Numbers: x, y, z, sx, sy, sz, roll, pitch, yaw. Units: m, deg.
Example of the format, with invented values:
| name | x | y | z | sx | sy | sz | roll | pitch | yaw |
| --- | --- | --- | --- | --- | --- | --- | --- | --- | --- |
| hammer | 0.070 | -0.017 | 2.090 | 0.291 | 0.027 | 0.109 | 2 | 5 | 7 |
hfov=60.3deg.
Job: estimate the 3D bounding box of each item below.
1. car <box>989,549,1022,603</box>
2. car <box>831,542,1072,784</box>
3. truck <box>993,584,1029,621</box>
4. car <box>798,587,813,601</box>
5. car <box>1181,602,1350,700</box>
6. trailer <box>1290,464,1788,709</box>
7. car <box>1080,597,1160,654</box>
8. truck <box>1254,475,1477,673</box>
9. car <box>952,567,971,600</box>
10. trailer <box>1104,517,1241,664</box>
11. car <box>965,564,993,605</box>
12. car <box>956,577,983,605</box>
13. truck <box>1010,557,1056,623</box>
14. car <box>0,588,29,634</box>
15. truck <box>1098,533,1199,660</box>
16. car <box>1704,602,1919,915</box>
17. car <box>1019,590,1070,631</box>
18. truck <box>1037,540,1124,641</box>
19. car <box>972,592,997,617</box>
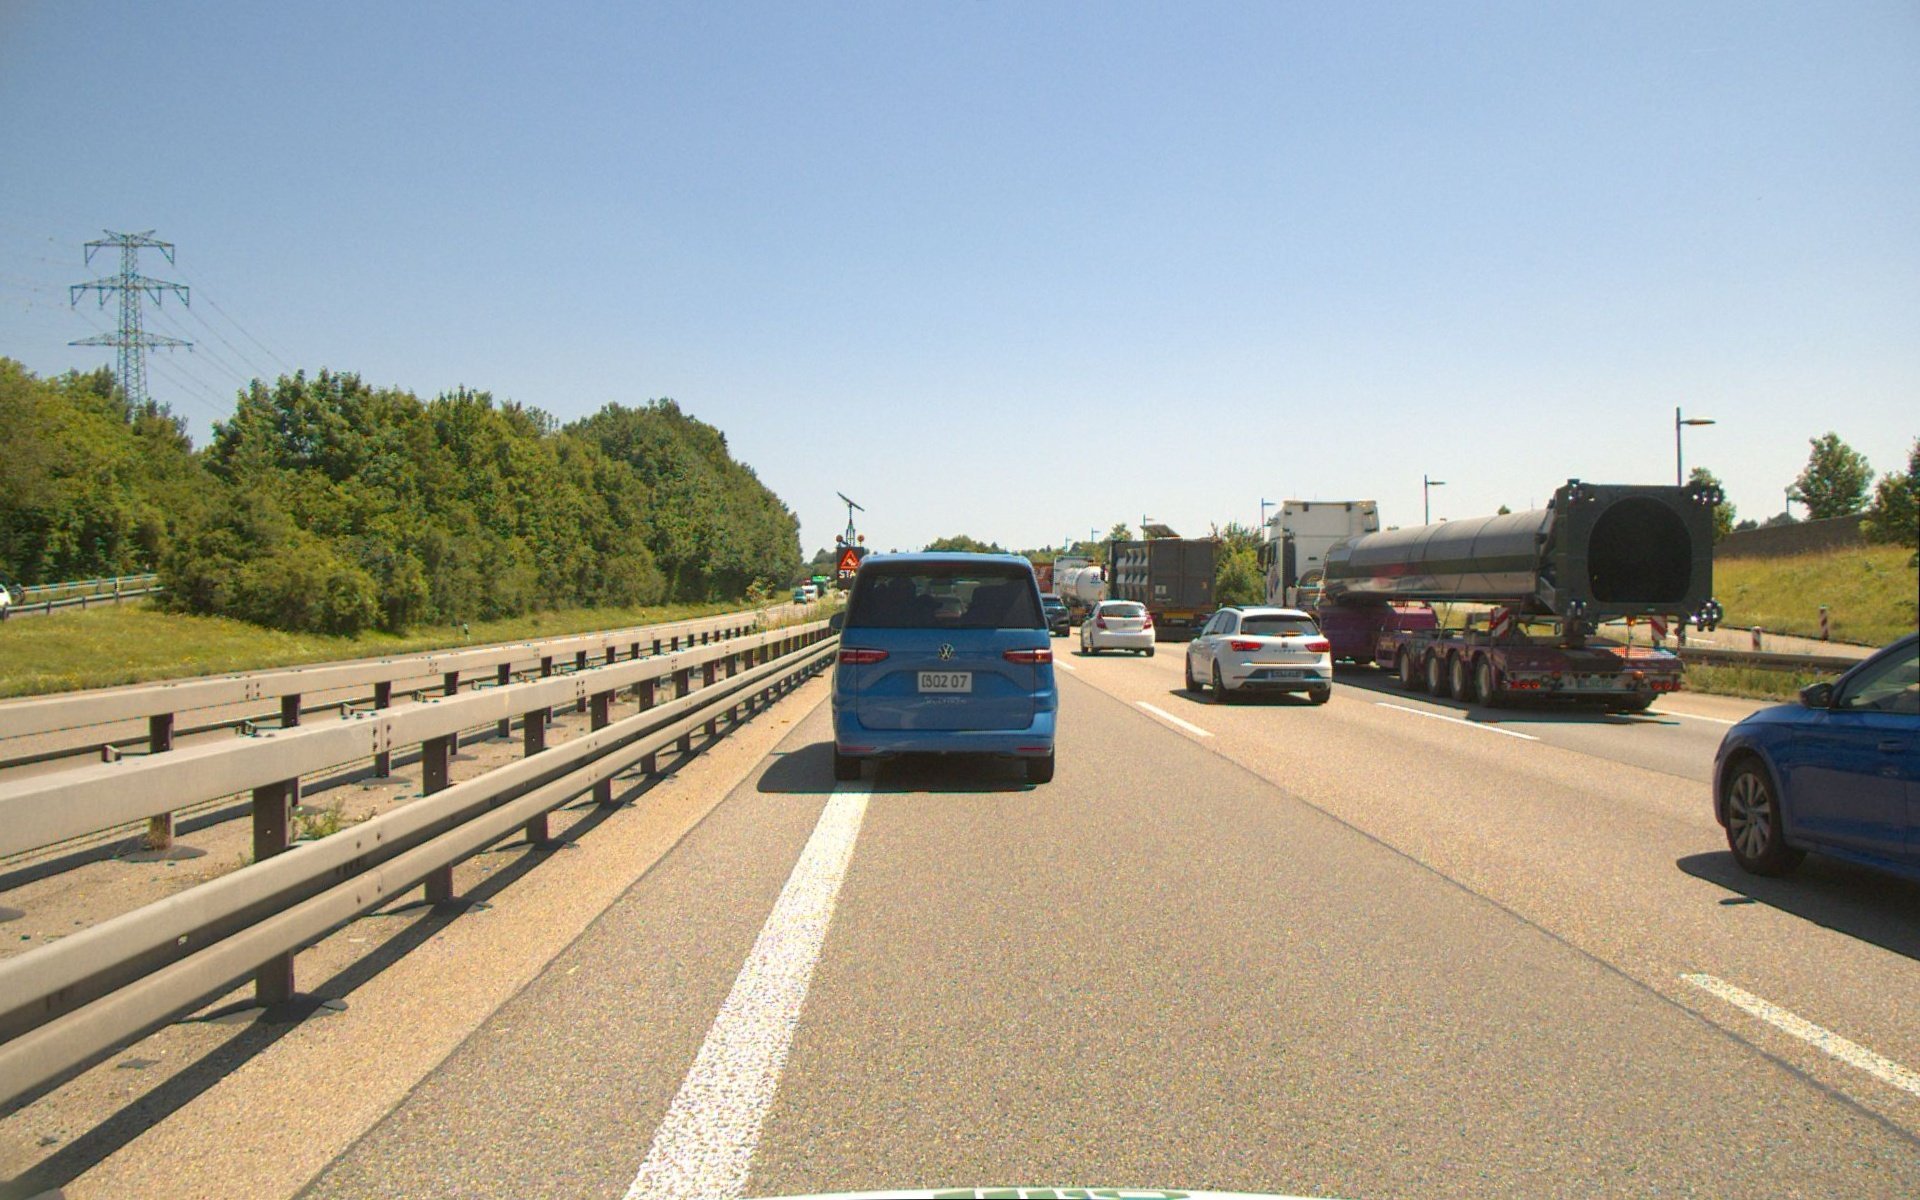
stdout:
| name | x | y | z | sx | sy | sz | roll | pitch | yaw |
| --- | --- | --- | --- | --- | --- | --- | --- | --- | --- |
| car | 4.722 | -2.463 | 172.811 | 3.153 | 5.349 | 8.142 | 1 | -1 | -1 |
| car | -0.050 | 0.515 | 14.948 | 1.862 | 1.870 | 4.000 | 1 | -1 | 0 |
| truck | 2.651 | 0.135 | 86.656 | 1.690 | 1.890 | 3.999 | 1 | -1 | -1 |
| car | -22.591 | -0.873 | 242.061 | 1.760 | 1.919 | 3.999 | 1 | -1 | -1 |
| car | 4.704 | 0.749 | 26.014 | 1.830 | 1.385 | 3.999 | 1 | 0 | -1 |
| trailer | 9.075 | -0.083 | 29.306 | 3.571 | 3.133 | 15.773 | 1 | -1 | 1 |
| car | 4.407 | 0.702 | 46.044 | 1.803 | 1.480 | 3.999 | 1 | -1 | -1 |
| truck | 9.295 | -0.517 | 38.958 | 3.551 | 4.166 | 7.525 | 1 | -1 | 1 |
| car | 0.202 | -2.466 | 254.104 | 2.661 | 4.795 | 11.557 | 1 | -1 | -1 |
| trailer | 8.195 | -0.263 | 65.768 | 3.572 | 5.226 | 13.072 | 1 | -1 | -1 |
| car | 2.549 | -2.072 | 224.247 | 3.155 | 5.349 | 8.136 | 1 | -1 | -4 |
| car | 0.947 | -0.891 | 167.541 | 2.499 | 2.765 | 5.619 | 1 | -1 | -1 |
| truck | 5.786 | -0.722 | 133.169 | 3.006 | 5.006 | 10.687 | 1 | -1 | -1 |
| car | -36.377 | 0.411 | 61.304 | 1.604 | 1.704 | 4.890 | 1 | -1 | -9 |
| truck | 8.142 | -0.125 | 72.152 | 3.584 | 5.270 | 5.707 | 1 | -1 | -1 |
| car | 5.339 | 0.753 | 7.771 | 1.671 | 1.466 | 4.427 | 1 | -1 | 0 |
| car | 3.370 | 0.427 | 66.577 | 1.745 | 1.551 | 3.999 | 1 | -1 | -1 |
| truck | 6.757 | -0.438 | 95.590 | 3.548 | 5.304 | 15.684 | 1 | -1 | -1 |
| car | 2.056 | 0.382 | 139.097 | 1.953 | 2.049 | 3.999 | 1 | -1 | -1 |
